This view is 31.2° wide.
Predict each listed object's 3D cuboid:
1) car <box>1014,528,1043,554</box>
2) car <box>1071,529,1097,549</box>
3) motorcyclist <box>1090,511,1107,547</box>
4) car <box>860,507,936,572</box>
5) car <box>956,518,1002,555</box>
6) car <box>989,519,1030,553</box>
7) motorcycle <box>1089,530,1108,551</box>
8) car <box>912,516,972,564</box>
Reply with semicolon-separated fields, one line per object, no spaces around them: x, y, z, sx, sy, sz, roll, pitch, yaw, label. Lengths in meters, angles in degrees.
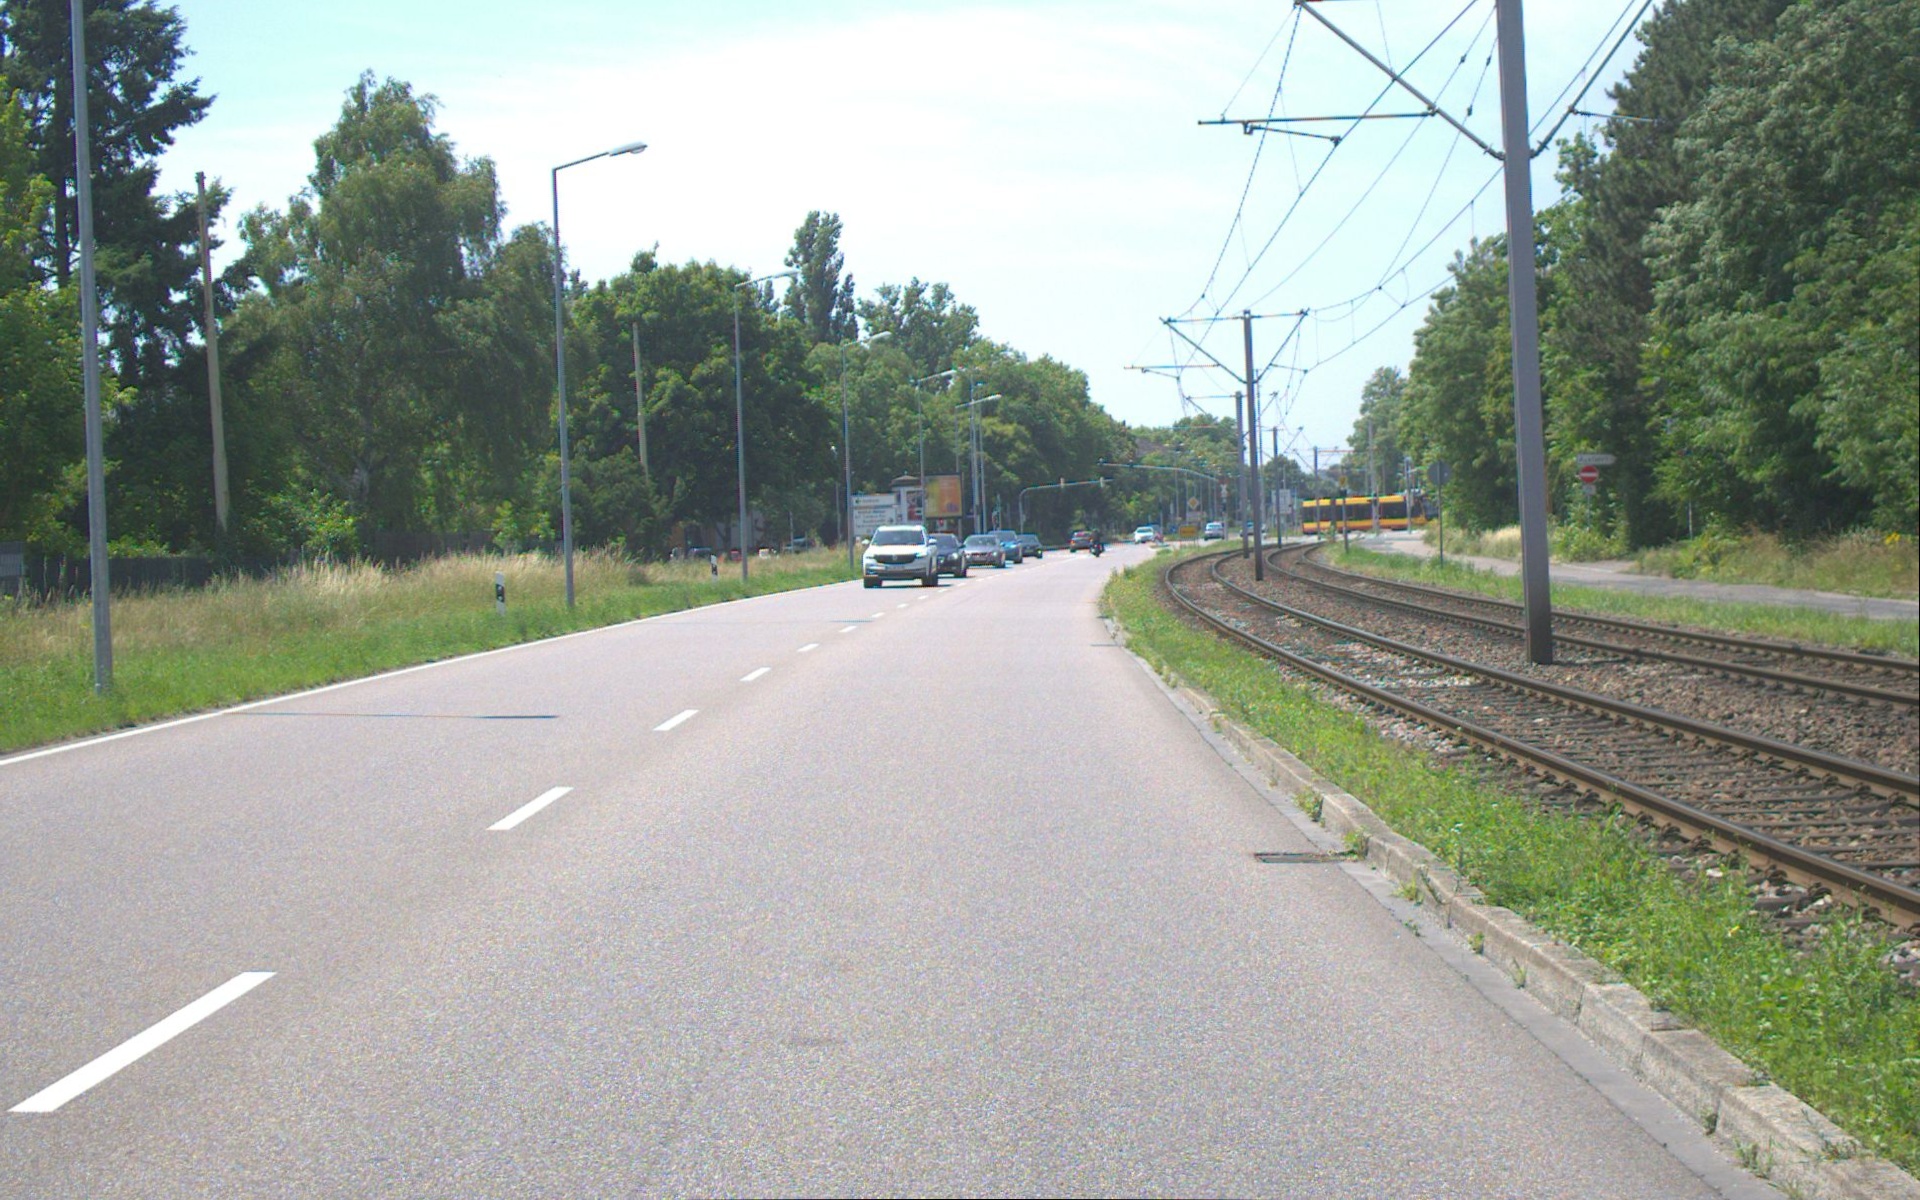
4.042;-3.469;202.740;1.627;1.485;4.363;-1;1;2;car
8.960;-4.394;248.001;1.627;1.390;4.363;-1;1;6;car
7.483;-3.827;185.854;0.891;1.898;1.015;-1;1;3;motorcyclist
-1.750;-1.729;98.585;1.935;1.790;4.712;-1;1;2;car
0.814;-2.649;143.846;1.817;1.488;4.363;-1;1;2;car
2.338;-2.986;160.113;1.817;1.532;4.363;-1;1;2;car
7.502;-3.224;185.849;0.970;1.113;2.732;-1;1;3;motorcycle
-0.582;-2.012;115.222;1.817;1.523;4.363;-1;1;2;car
